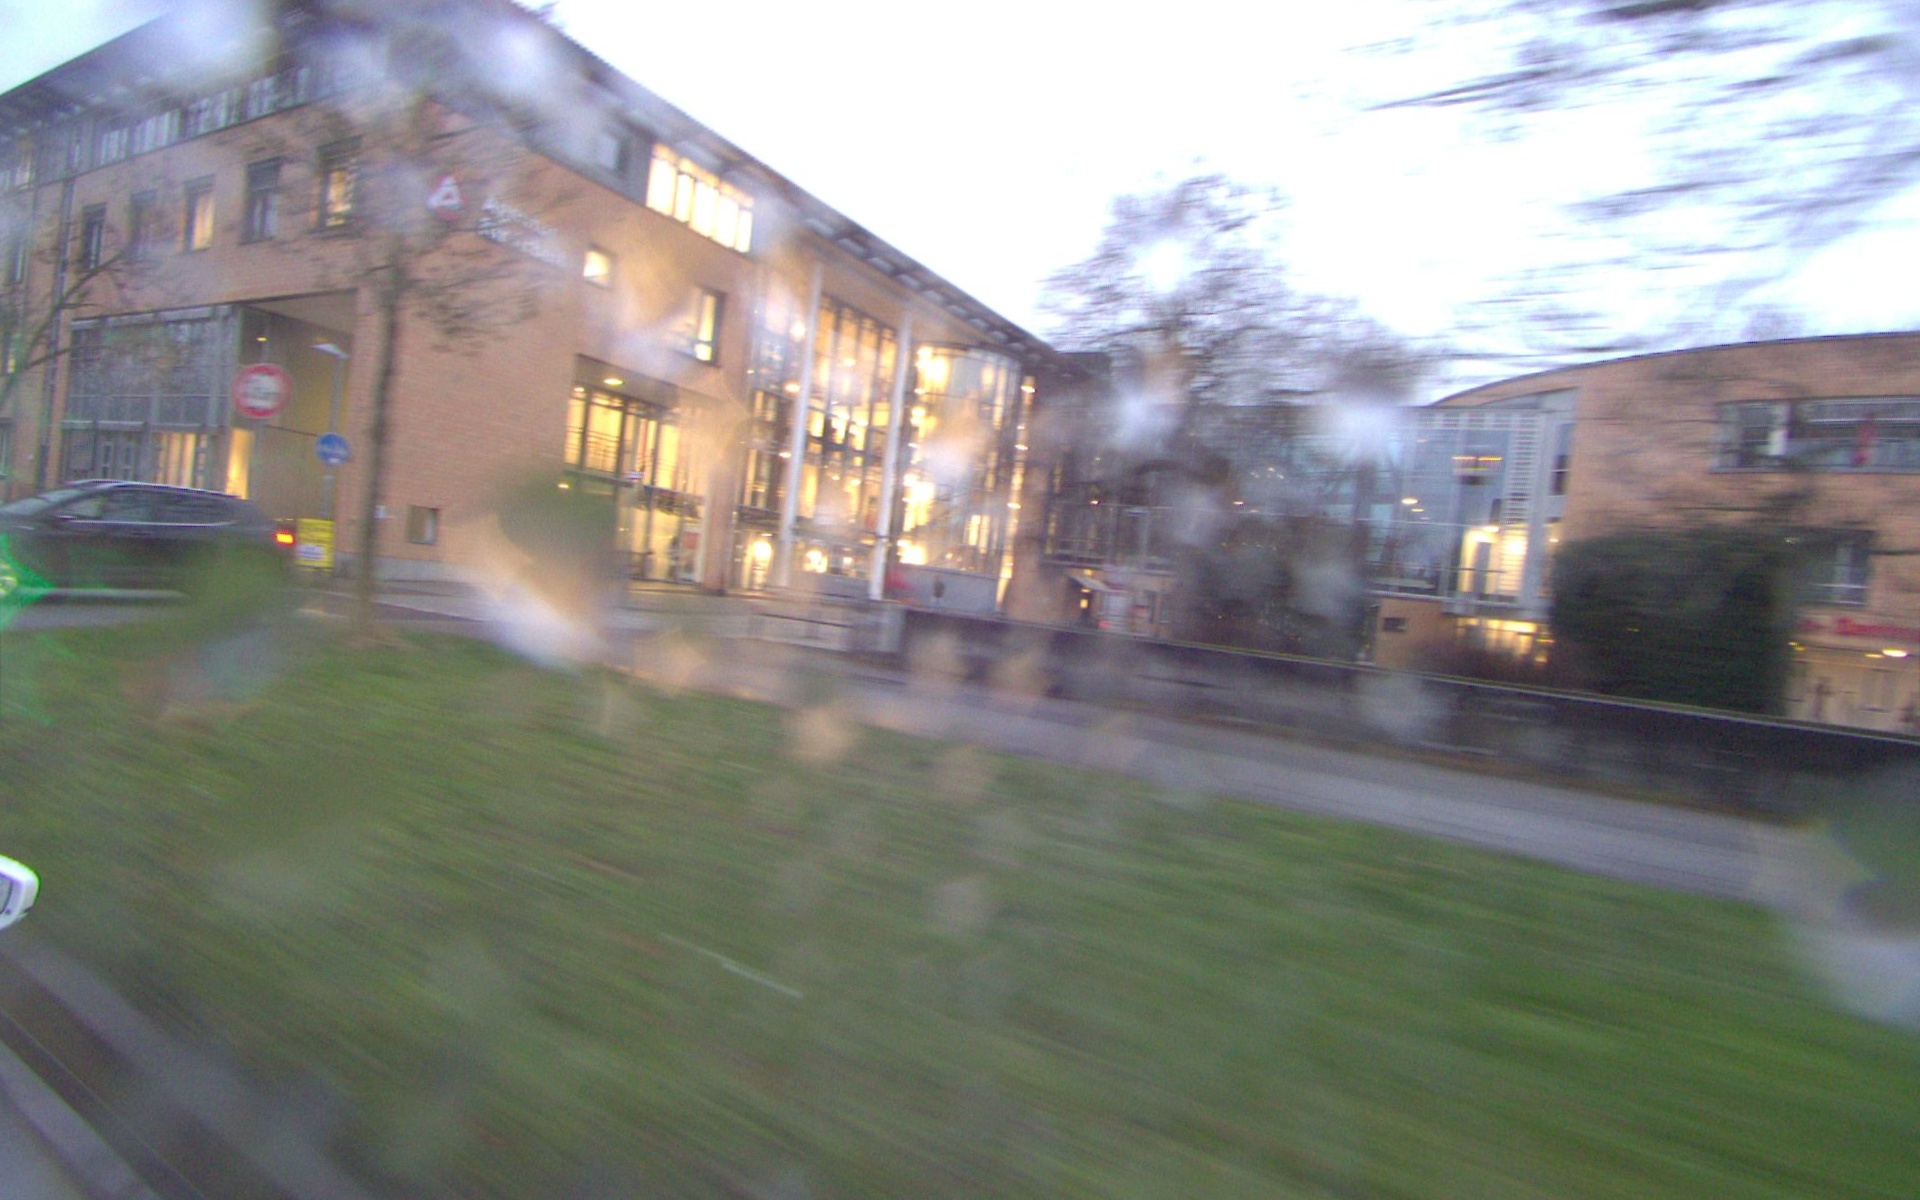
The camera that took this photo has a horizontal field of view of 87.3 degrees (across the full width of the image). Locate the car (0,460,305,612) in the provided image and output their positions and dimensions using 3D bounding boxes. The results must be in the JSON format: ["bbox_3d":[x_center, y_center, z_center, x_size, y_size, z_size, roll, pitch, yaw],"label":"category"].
[{"bbox_3d":[-10.756,-0.795,12.493,1.714,1.576,3.987,7,2,33],"label":"car"}]

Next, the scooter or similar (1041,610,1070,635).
[{"bbox_3d":[4.608,1.082,48.438,1.196,1.087,0.393,7,-1,26],"label":"scooter or similar"}]

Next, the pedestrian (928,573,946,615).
[{"bbox_3d":[-1.020,-0.269,44.881,0.498,1.808,0.502,7,2,16],"label":"pedestrian"}]

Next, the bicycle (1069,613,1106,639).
[{"bbox_3d":[6.457,1.325,51.049,1.674,1.087,0.492,6,-1,31],"label":"bicycle"}]

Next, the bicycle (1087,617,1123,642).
[{"bbox_3d":[7.652,1.566,53.146,1.674,1.087,0.492,6,-1,31],"label":"bicycle"}]
